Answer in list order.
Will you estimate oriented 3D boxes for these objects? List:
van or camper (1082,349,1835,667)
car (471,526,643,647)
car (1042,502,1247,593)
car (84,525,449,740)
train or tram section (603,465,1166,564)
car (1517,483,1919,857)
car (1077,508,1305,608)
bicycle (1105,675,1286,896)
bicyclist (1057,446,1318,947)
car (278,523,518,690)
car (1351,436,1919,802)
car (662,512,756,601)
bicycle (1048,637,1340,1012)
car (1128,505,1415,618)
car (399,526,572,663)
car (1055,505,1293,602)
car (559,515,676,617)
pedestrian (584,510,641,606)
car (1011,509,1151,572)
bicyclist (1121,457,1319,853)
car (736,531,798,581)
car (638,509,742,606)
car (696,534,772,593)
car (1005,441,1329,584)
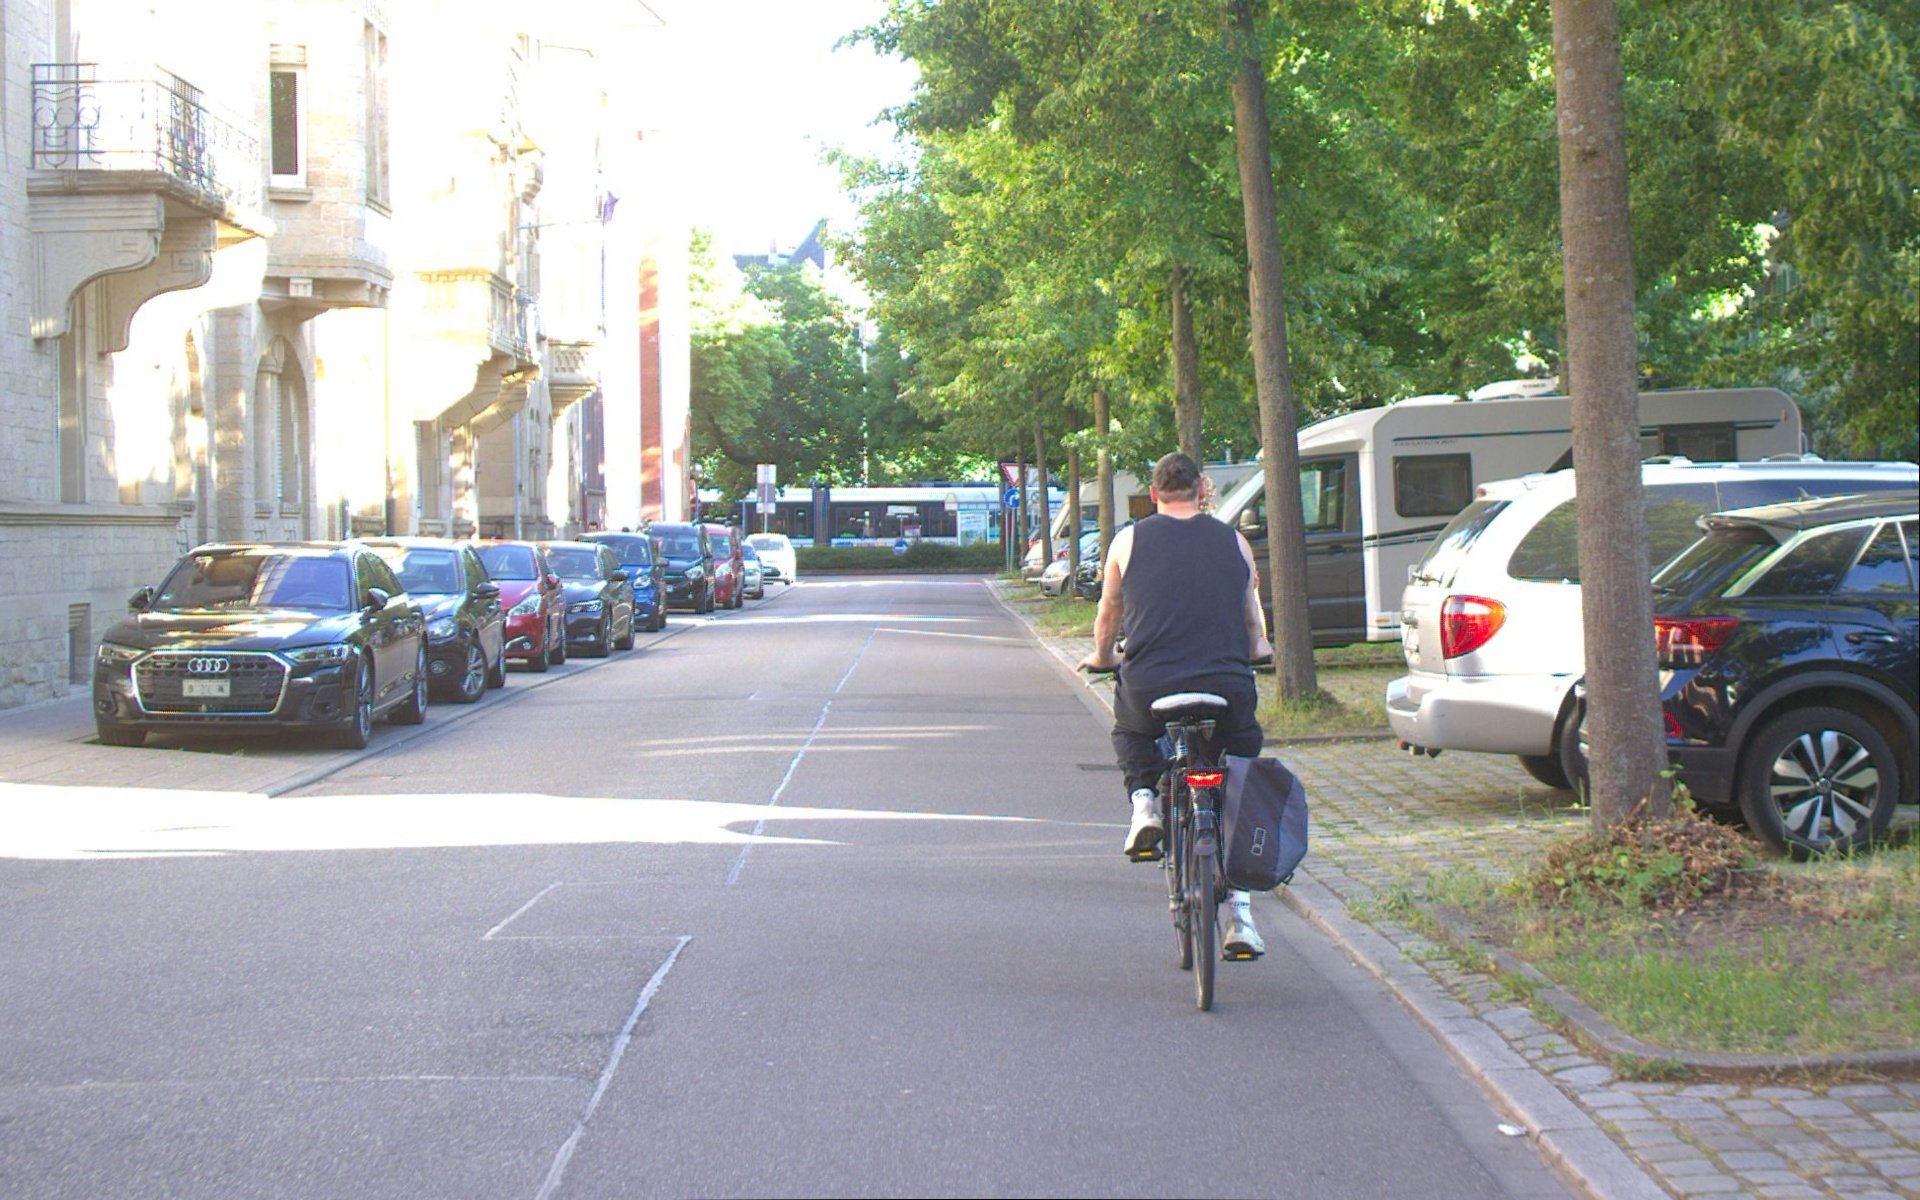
[{"bbox_3d":[4.900,-0.918,34.766,7.147,2.638,2.464,-4,1,2],"label":"van or camper"},{"bbox_3d":[-5.244,-0.214,45.207,1.675,1.425,4.551,2,2,0],"label":"car"},{"bbox_3d":[3.854,-1.110,72.341,4.082,1.644,1.641,-4,1,-2],"label":"car"},{"bbox_3d":[-5.136,0.183,26.119,1.811,1.422,4.898,2,1,-1],"label":"car"},{"bbox_3d":[-3.001,-3.527,145.381,23.799,3.696,4.287,1,1,-22],"label":"train or tram section"},{"bbox_3d":[4.711,0.202,15.468,4.068,1.471,1.694,-4,2,1],"label":"car"},{"bbox_3d":[3.900,-0.696,58.494,3.773,1.594,1.691,-1,-1,2],"label":"car"},{"bbox_3d":[0.997,0.775,14.901,0.633,0.796,1.833,-1,1,0],"label":"bicycle"},{"bbox_3d":[0.719,0.298,11.137,0.730,1.542,0.884,1,0,-1],"label":"bicyclist"},{"bbox_3d":[-5.191,0.036,32.163,1.696,1.448,4.028,0,1,-2],"label":"car"},{"bbox_3d":[4.480,0.031,17.992,4.619,1.703,1.833,-3,1,1],"label":"car"},{"bbox_3d":[-5.411,-0.966,74.520,1.689,1.819,4.273,2,2,0],"label":"car"},{"bbox_3d":[0.713,0.671,11.082,0.737,1.050,1.956,1,0,-1],"label":"bicycle"},{"bbox_3d":[4.702,-0.569,52.305,4.223,1.594,1.691,-1,-1,2],"label":"car"},{"bbox_3d":[-5.382,-0.100,39.362,1.628,1.448,3.838,1,1,-3],"label":"car"},{"bbox_3d":[3.768,-0.816,61.013,4.139,1.594,1.702,-1,-1,2],"label":"car"},{"bbox_3d":[-5.401,-0.558,54.462,1.595,1.484,2.737,3,2,-2],"label":"car"},{"bbox_3d":[-6.380,-0.770,63.128,0.938,1.736,0.735,1,0,0],"label":"pedestrian"},{"bbox_3d":[3.574,-1.756,101.894,3.986,1.797,1.834,1,0,-2],"label":"car"},{"bbox_3d":[1.096,0.219,14.685,0.689,1.621,0.998,1,1,-3],"label":"bicyclist"},{"bbox_3d":[-5.745,-1.321,102.878,1.583,1.371,4.131,2,2,0],"label":"car"},{"bbox_3d":[-5.246,-0.870,67.276,1.640,1.777,4.354,2,2,0],"label":"car"},{"bbox_3d":[-5.607,-0.921,85.520,1.583,1.339,4.131,2,2,0],"label":"car"},{"bbox_3d":[4.731,-2.025,79.505,7.146,2.968,2.465,-2,1,-3],"label":"car"}]
